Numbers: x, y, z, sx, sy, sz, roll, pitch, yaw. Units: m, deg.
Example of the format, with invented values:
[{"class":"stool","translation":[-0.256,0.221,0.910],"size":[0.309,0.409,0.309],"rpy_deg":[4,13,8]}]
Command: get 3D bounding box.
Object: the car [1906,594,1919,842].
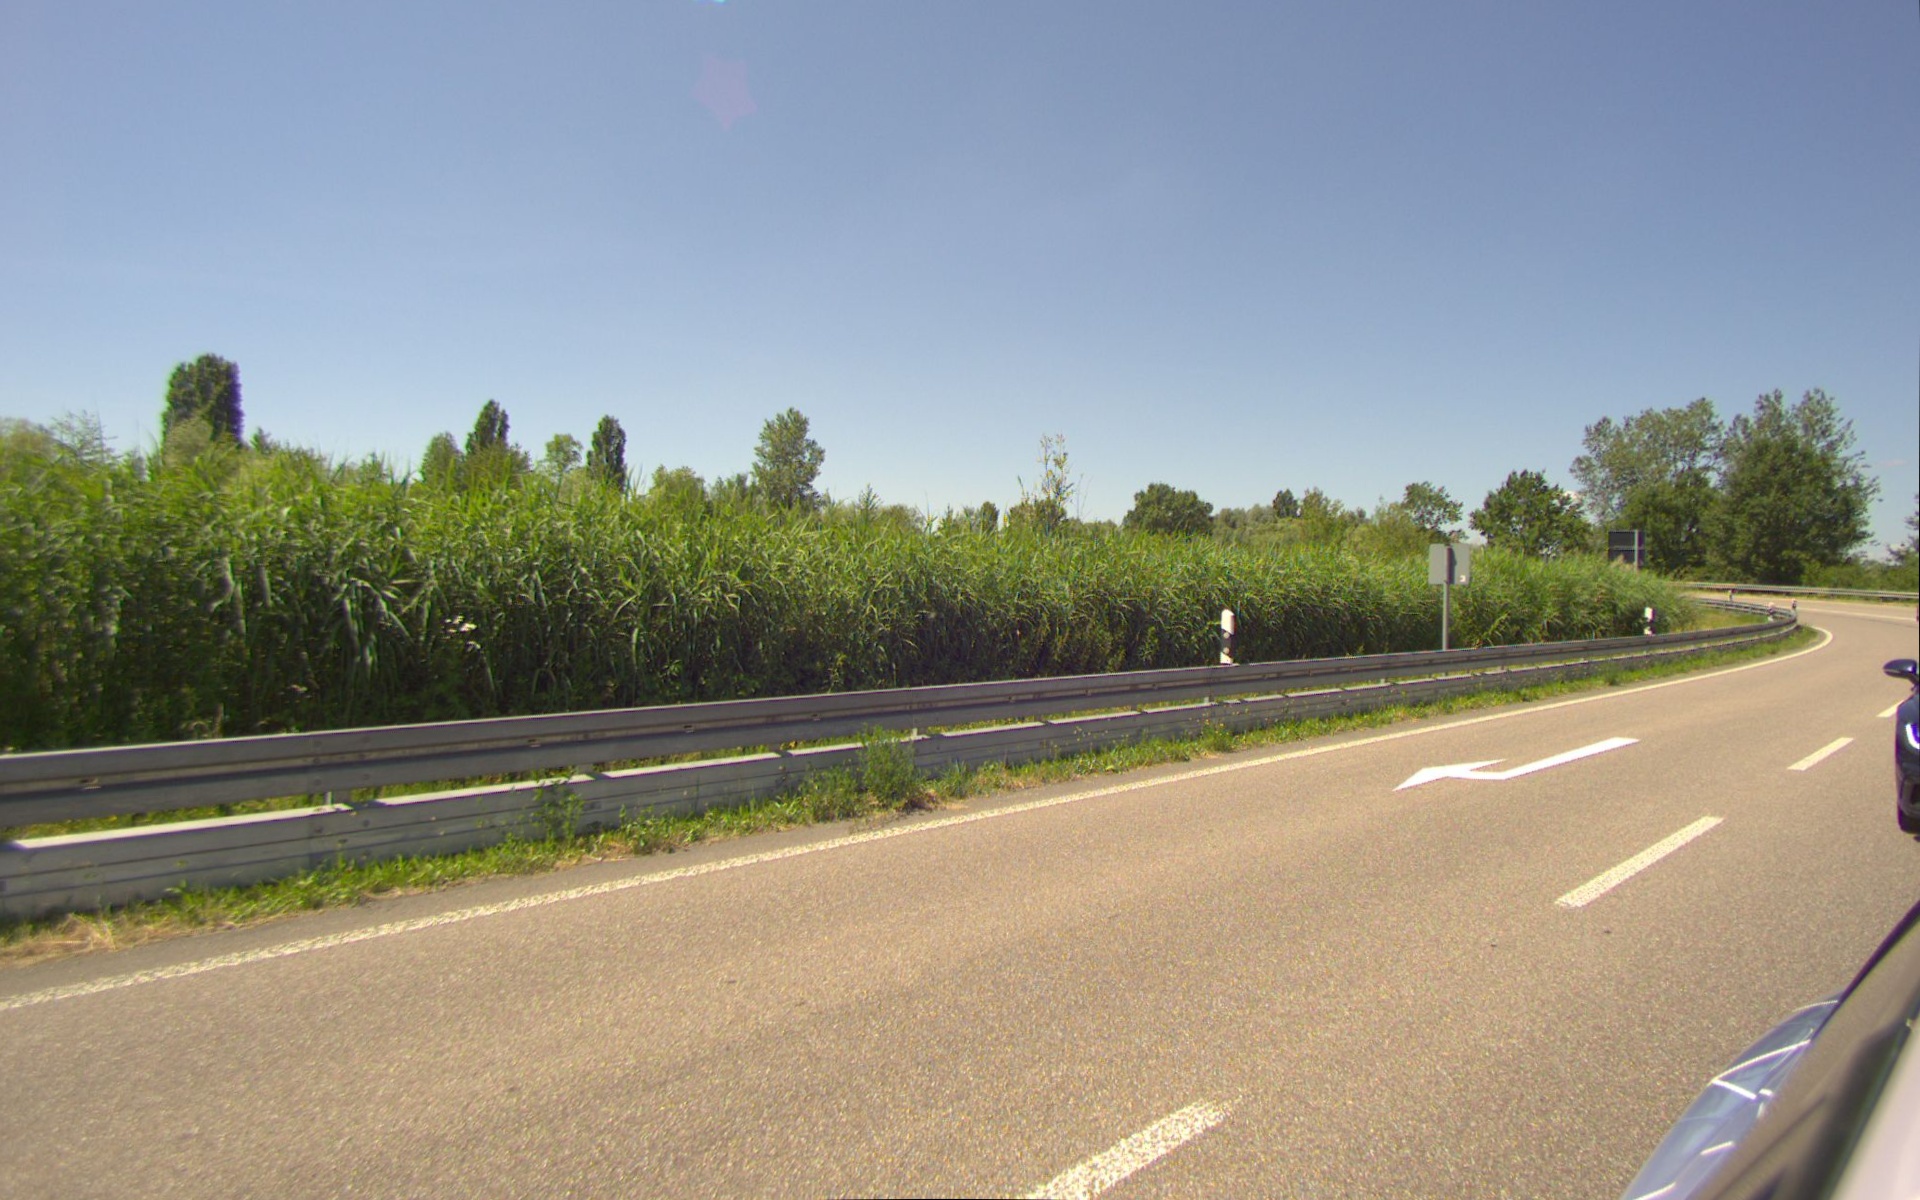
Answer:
[{"class":"car","translation":[7.542,0.669,6.506],"size":[3.930,1.427,1.759],"rpy_deg":[-1,1,-41]}]
